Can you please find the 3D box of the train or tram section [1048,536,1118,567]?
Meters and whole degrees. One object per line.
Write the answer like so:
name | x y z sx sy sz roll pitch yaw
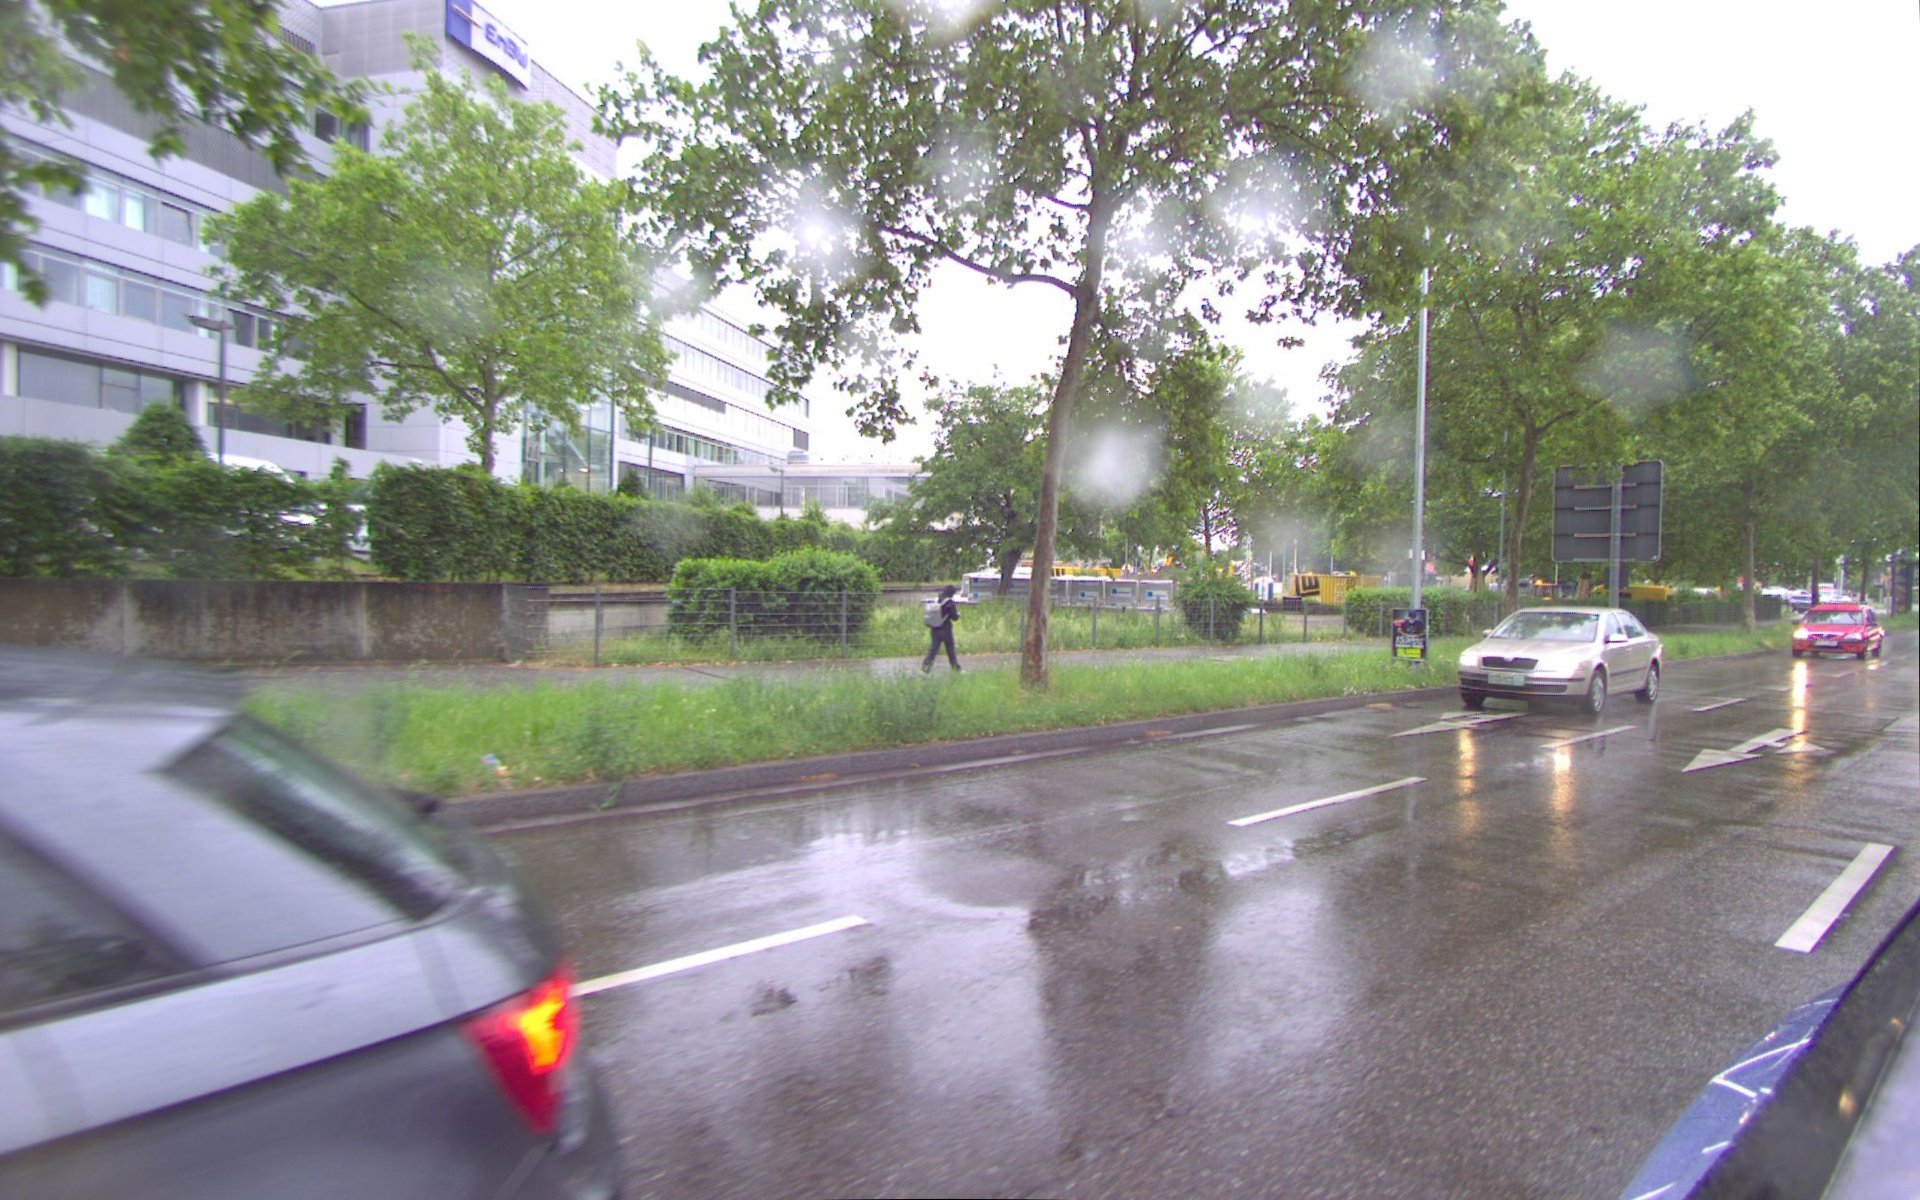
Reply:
train or tram section | 14.916 -5.877 122.540 8.238 3.563 2.393 0 1 11

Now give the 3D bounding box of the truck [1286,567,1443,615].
truck | 26.790 -0.602 67.552 9.359 3.069 3.070 0 1 14

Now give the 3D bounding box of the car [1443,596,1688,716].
car | 8.934 0.690 14.786 4.310 1.448 1.806 0 2 -41

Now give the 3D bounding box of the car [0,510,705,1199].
car | -2.470 0.648 0.837 3.932 1.470 1.996 0 1 -43

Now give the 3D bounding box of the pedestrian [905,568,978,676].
pedestrian | -0.308 0.355 17.215 0.664 1.784 1.059 1 1 43

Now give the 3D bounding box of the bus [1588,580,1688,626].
bus | 42.140 0.147 62.974 1.964 2.680 4.803 0 1 -39

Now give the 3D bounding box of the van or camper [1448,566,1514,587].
van or camper | 82.876 -3.761 161.257 8.846 3.196 2.976 0 1 14

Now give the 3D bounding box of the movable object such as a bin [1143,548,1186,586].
movable object such as a bin | 20.848 -3.366 103.183 3.253 3.670 3.618 1 2 -6

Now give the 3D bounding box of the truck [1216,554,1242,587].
truck | 29.406 -3.235 110.774 2.459 3.386 9.434 0 2 13

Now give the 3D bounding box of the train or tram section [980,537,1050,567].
train or tram section | 6.764 -5.846 124.151 8.396 3.563 2.393 0 1 11

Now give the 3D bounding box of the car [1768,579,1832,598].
car | 82.285 -1.121 99.211 4.391 1.693 1.863 2 2 11

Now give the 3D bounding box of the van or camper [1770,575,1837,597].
van or camper | 84.974 -1.430 102.017 4.830 2.114 1.863 2 2 11

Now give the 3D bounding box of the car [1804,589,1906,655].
car | 26.990 0.601 30.471 4.478 1.791 1.699 0 2 -41
